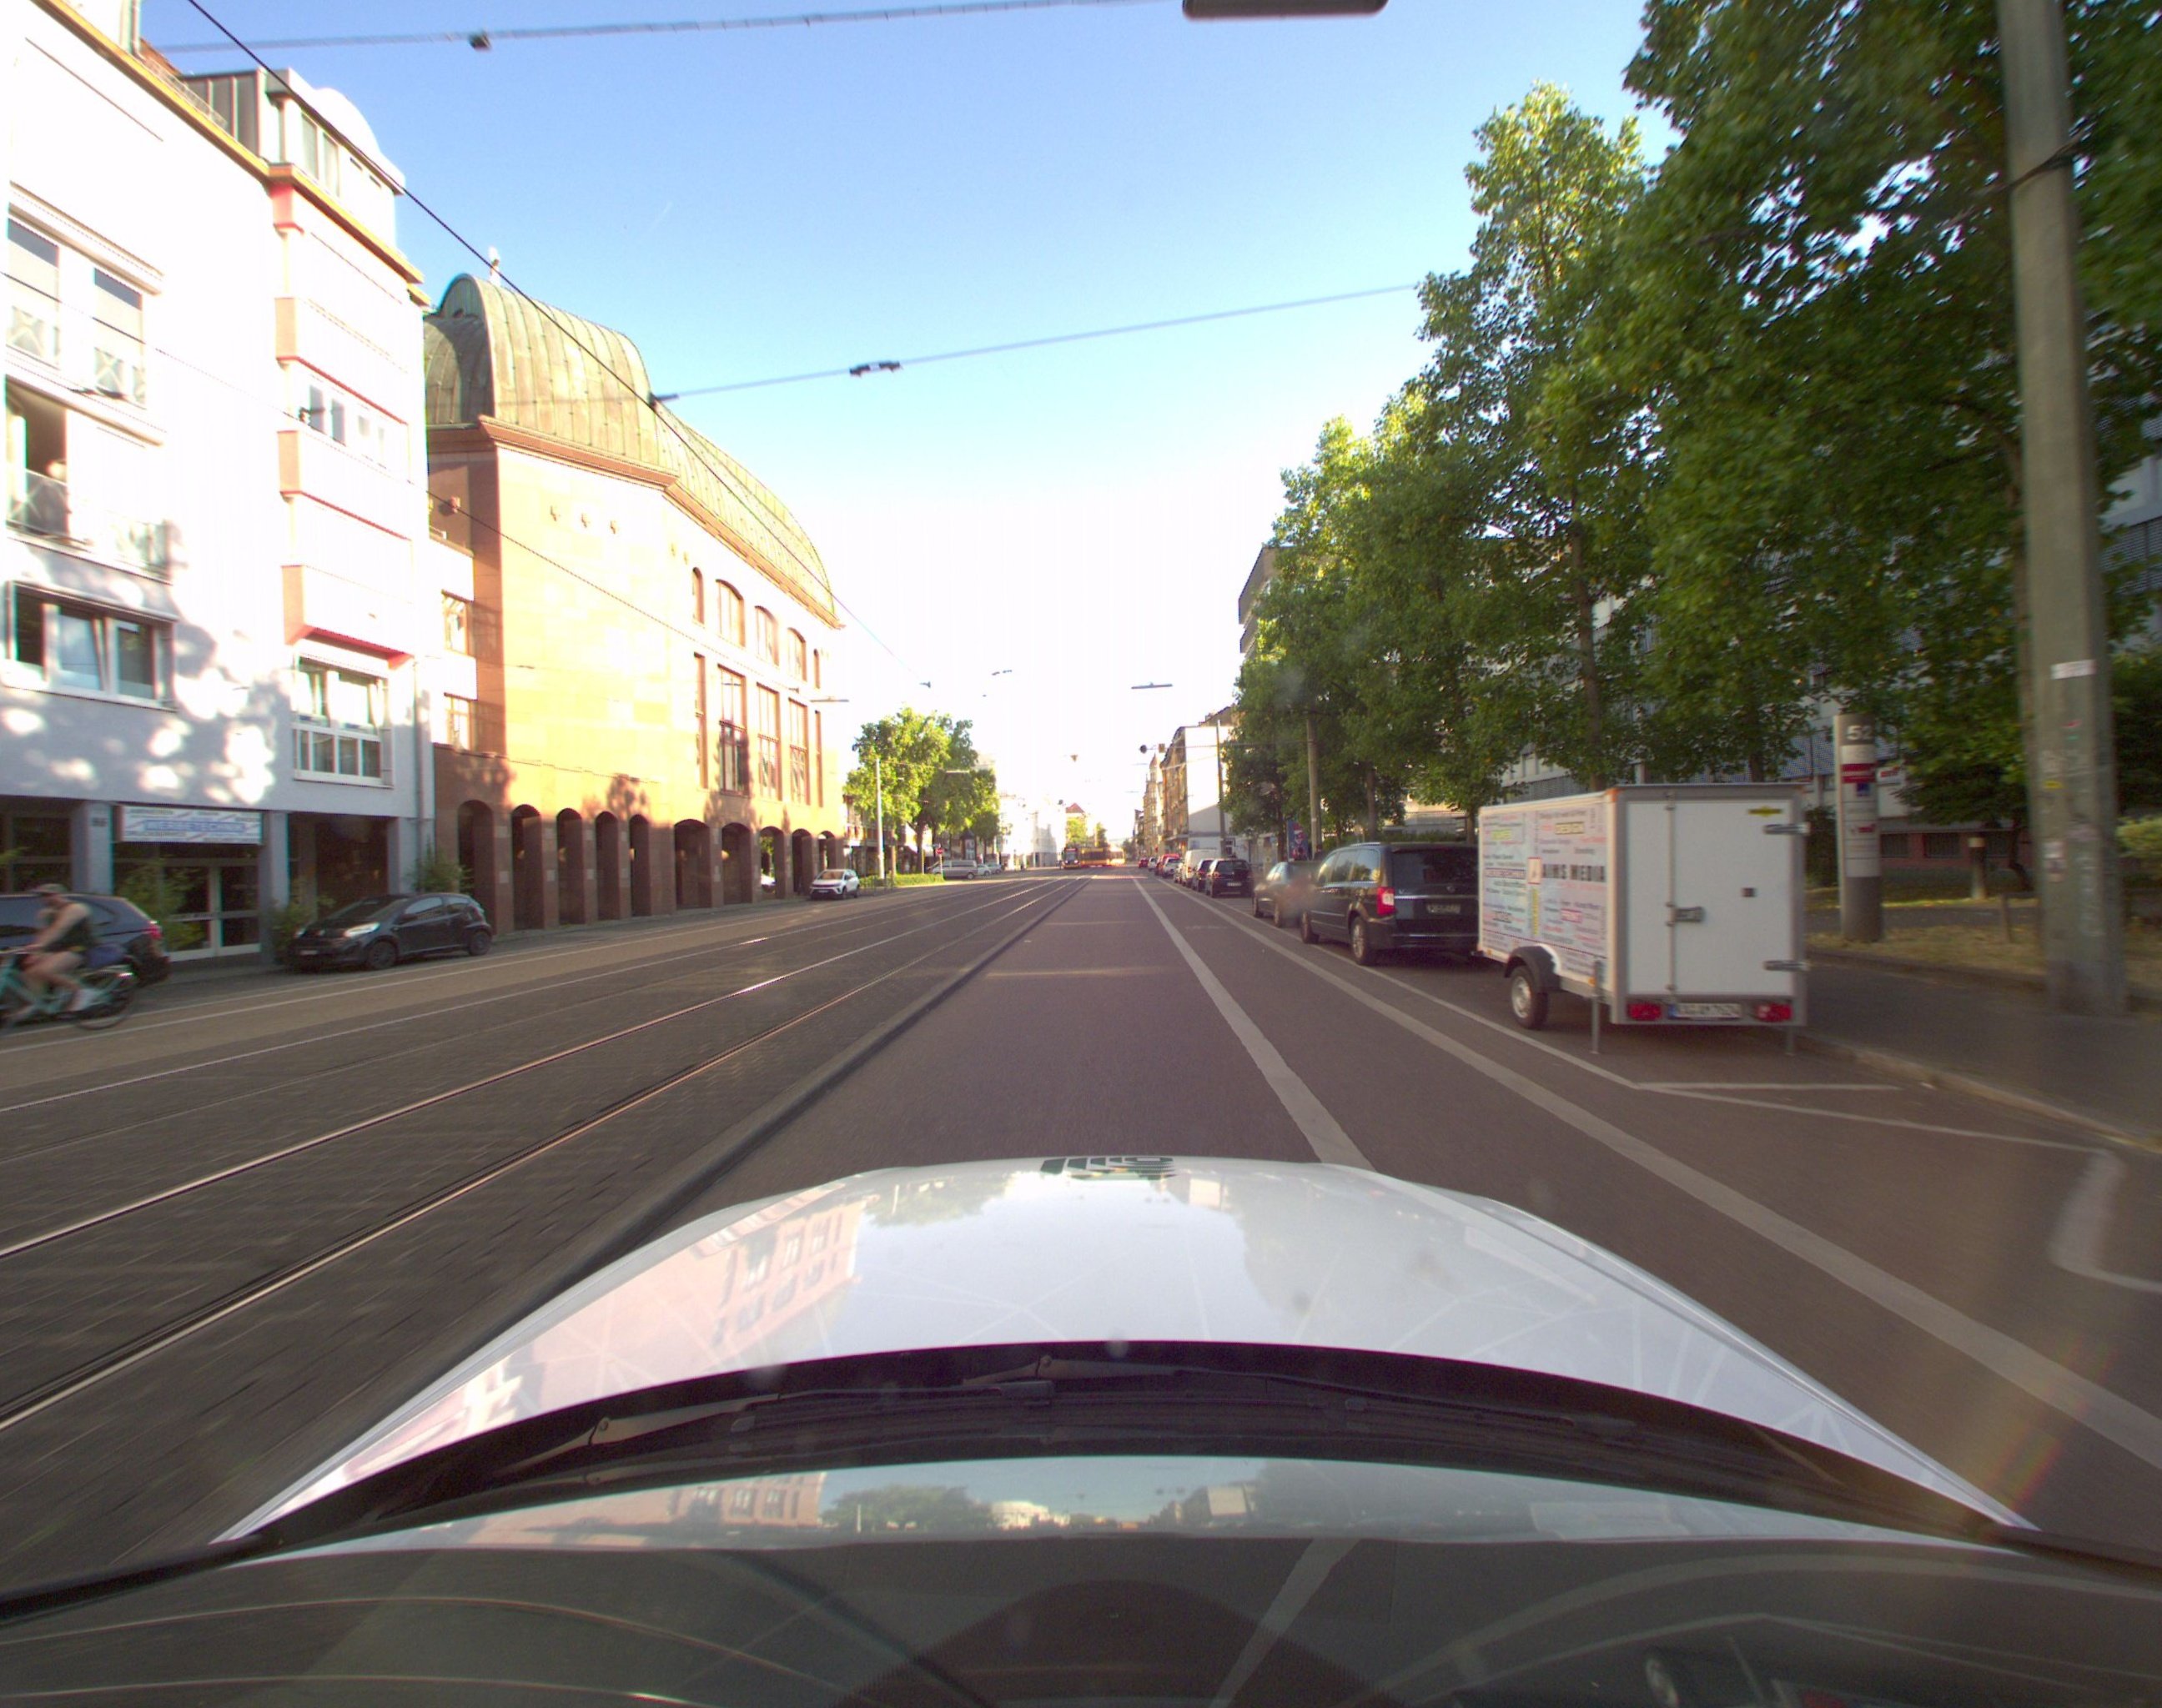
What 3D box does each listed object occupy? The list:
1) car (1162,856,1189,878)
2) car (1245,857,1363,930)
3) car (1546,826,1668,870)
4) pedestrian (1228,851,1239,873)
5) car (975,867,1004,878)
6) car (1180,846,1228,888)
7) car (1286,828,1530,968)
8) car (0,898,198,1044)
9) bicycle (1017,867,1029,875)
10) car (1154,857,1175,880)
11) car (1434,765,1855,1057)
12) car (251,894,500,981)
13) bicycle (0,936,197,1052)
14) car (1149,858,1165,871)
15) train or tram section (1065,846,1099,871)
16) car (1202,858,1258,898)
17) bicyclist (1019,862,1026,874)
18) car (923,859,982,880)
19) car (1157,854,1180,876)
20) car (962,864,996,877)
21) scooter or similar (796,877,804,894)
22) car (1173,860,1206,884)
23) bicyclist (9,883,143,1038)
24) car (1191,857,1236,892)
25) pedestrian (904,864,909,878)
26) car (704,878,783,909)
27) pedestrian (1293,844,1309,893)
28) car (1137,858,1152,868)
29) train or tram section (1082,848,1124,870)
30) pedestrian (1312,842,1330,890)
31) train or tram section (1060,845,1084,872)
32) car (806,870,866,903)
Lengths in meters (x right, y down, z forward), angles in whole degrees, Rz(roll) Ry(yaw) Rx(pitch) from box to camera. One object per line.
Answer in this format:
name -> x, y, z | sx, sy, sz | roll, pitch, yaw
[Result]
car -> 7.108, 0.951, 61.630 | 1.716, 1.567, 4.085 | -3, 0, 2
car -> 5.172, 0.845, 19.504 | 1.709, 1.427, 4.678 | -1, 1, 2
car -> 20.037, -0.244, 31.281 | 1.859, 1.494, 4.438 | -3, 1, 1
pedestrian -> 12.174, 0.638, 65.007 | 0.658, 1.722, 0.835 | -2, -1, 3
car -> -12.509, 2.498, 111.235 | 3.541, 1.481, 1.567 | 0, 0, -30
car -> 6.414, 0.654, 42.910 | 1.962, 2.014, 4.562 | -3, 0, 3
car -> 4.852, 0.582, 13.043 | 1.942, 1.788, 5.183 | 0, 0, 2
car -> -14.371, 1.488, 9.817 | 2.083, 1.713, 4.820 | -1, -1, 2
bicycle -> -9.315, 2.773, 131.156 | 2.001, 1.239, 0.704 | 0, -1, 44
car -> 7.324, 1.275, 71.990 | 1.614, 2.006, 3.833 | 0, 0, 2
car -> 4.929, 0.451, 7.843 | 1.697, 2.120, 3.712 | -1, -1, 5
car -> -14.344, 1.635, 16.861 | 1.860, 1.450, 3.589 | -1, -1, 5
bicycle -> -11.898, 1.616, 9.531 | 0.580, 1.077, 2.187 | -4, -1, 3
car -> 8.786, 1.189, 94.615 | 1.614, 1.555, 4.085 | 0, 0, 2
train or tram section -> 0.252, 0.748, 135.129 | 2.673, 3.878, 12.889 | 0, 0, 13
car -> 5.747, 0.884, 31.814 | 1.614, 1.431, 3.988 | -1, 0, 3
bicyclist -> -9.449, 2.220, 131.288 | 0.704, 2.014, 0.715 | 1, -1, -45
car -> -12.867, 1.521, 81.645 | 5.284, 2.043, 2.395 | 1, -2, -30
car -> 7.279, 0.878, 67.721 | 1.614, 1.813, 4.085 | 0, 0, 2
car -> -12.630, 2.015, 100.938 | 3.891, 1.627, 1.858 | 0, 0, -29
scooter or similar -> -15.498, 1.739, 44.918 | 0.363, 0.938, 0.967 | 1, 0, -17
car -> 6.524, 1.048, 49.171 | 1.614, 1.370, 3.933 | 0, 0, 2
bicyclist -> -11.908, 1.228, 9.673 | 0.569, 1.712, 0.746 | -4, -1, 2
car -> 5.967, 0.879, 37.046 | 1.614, 1.474, 3.974 | -1, 0, 3
pedestrian -> -16.772, 1.672, 78.336 | 0.363, 1.343, 0.480 | 1, -1, -18
car -> -24.383, 2.842, 59.032 | 4.918, 1.993, 2.144 | -2, 0, -11
pedestrian -> 8.070, 0.531, 29.861 | 0.422, 1.709, 0.456 | -4, 3, 20
car -> 9.372, 1.304, 121.100 | 2.057, 1.389, 4.228 | 0, 0, 2
train or tram section -> 4.102, 0.873, 146.127 | 2.666, 3.752, 11.357 | 0, 0, 29
pedestrian -> 8.747, 0.424, 29.653 | 0.494, 1.709, 0.456 | -4, 2, 21
train or tram section -> -1.241, 0.669, 123.135 | 2.680, 3.960, 12.101 | 0, 0, 4
car -> -13.053, 1.698, 43.634 | 1.863, 1.600, 4.253 | -2, 0, 0
